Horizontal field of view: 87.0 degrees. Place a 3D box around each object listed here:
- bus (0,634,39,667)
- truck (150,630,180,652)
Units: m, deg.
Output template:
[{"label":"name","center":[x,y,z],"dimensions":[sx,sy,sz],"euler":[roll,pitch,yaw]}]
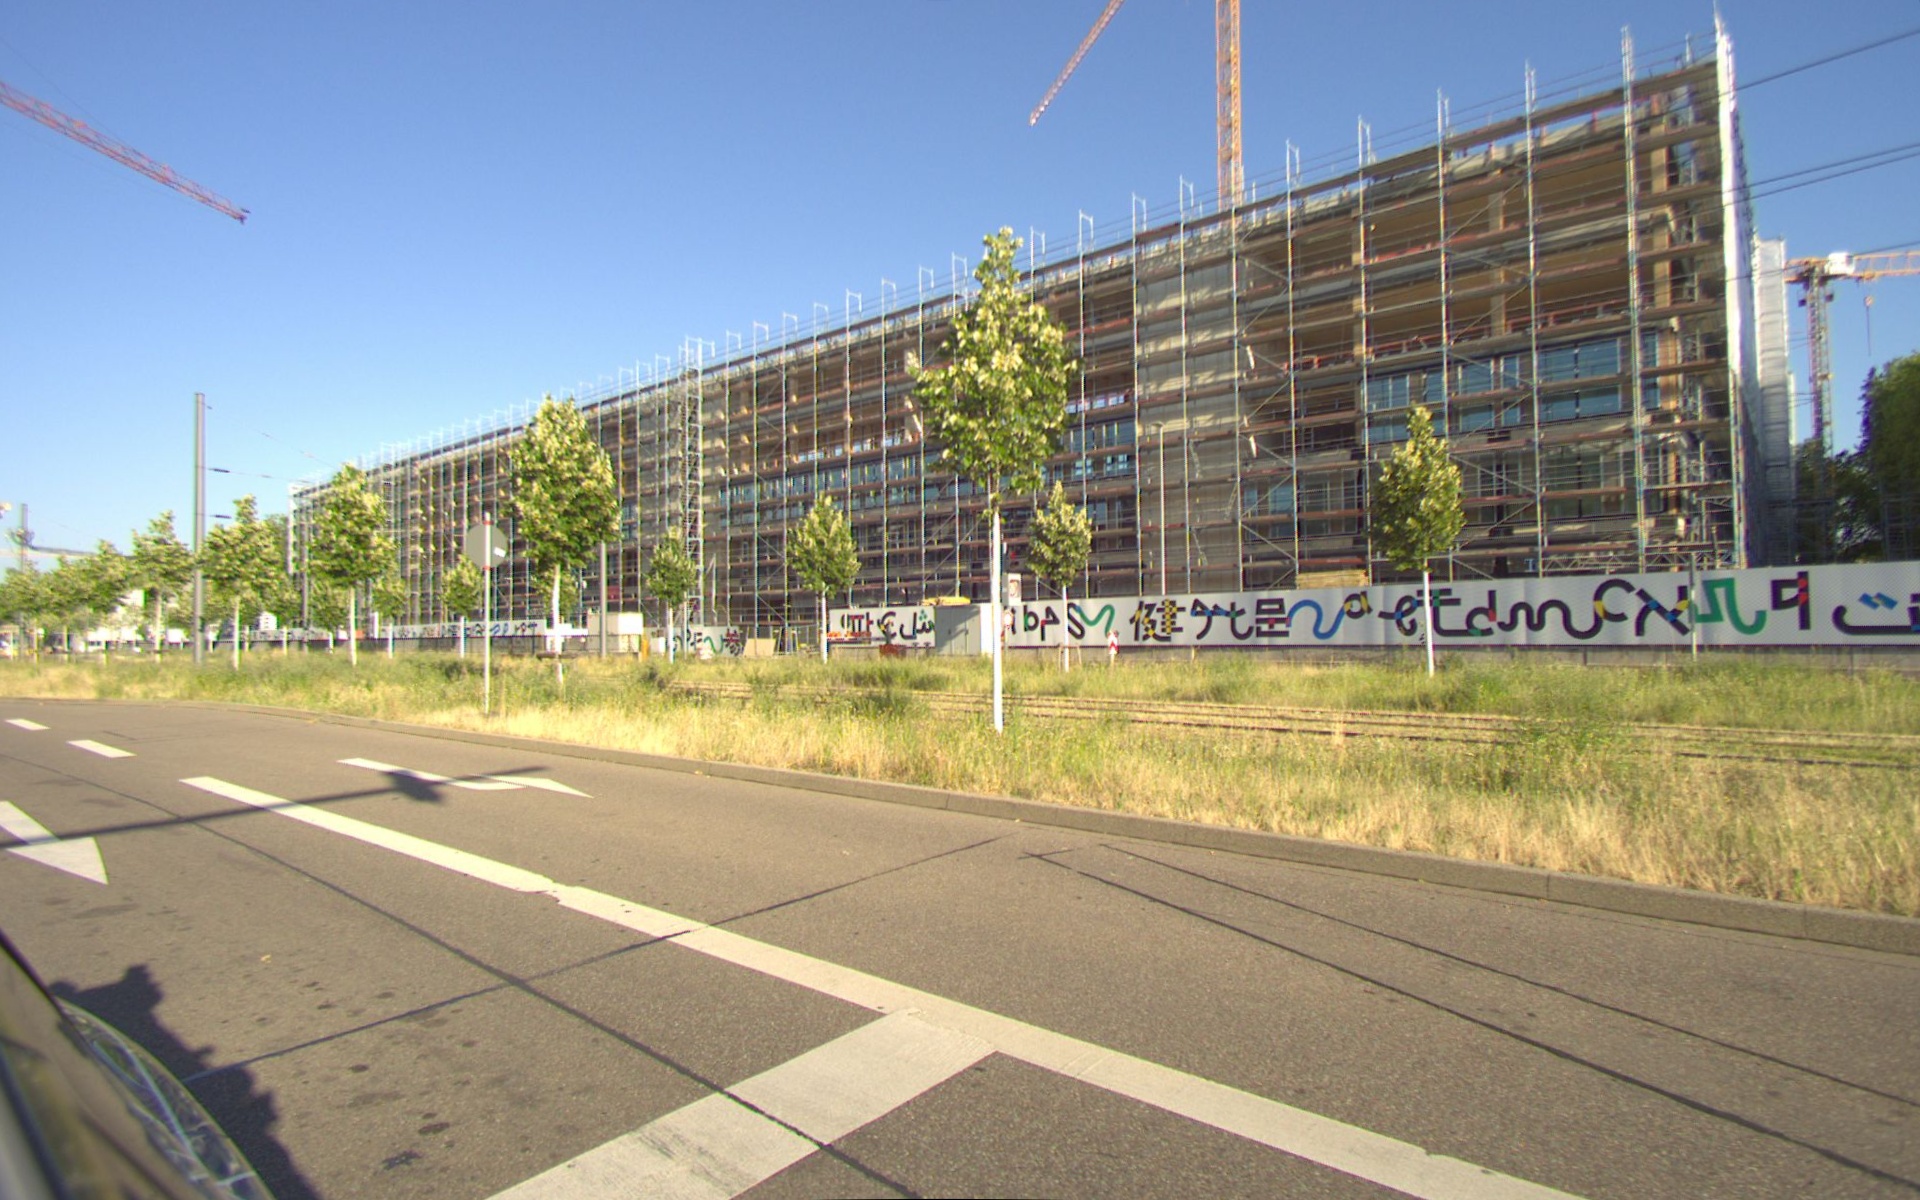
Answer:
[{"label":"bus","center":[-96.869,5.204,103.822],"dimensions":[8.654,3.247,2.687],"euler":[-3,-3,43]},{"label":"truck","center":[-97.363,5.051,123.899],"dimensions":[4.738,2.594,2.115],"euler":[-3,-3,42]}]
